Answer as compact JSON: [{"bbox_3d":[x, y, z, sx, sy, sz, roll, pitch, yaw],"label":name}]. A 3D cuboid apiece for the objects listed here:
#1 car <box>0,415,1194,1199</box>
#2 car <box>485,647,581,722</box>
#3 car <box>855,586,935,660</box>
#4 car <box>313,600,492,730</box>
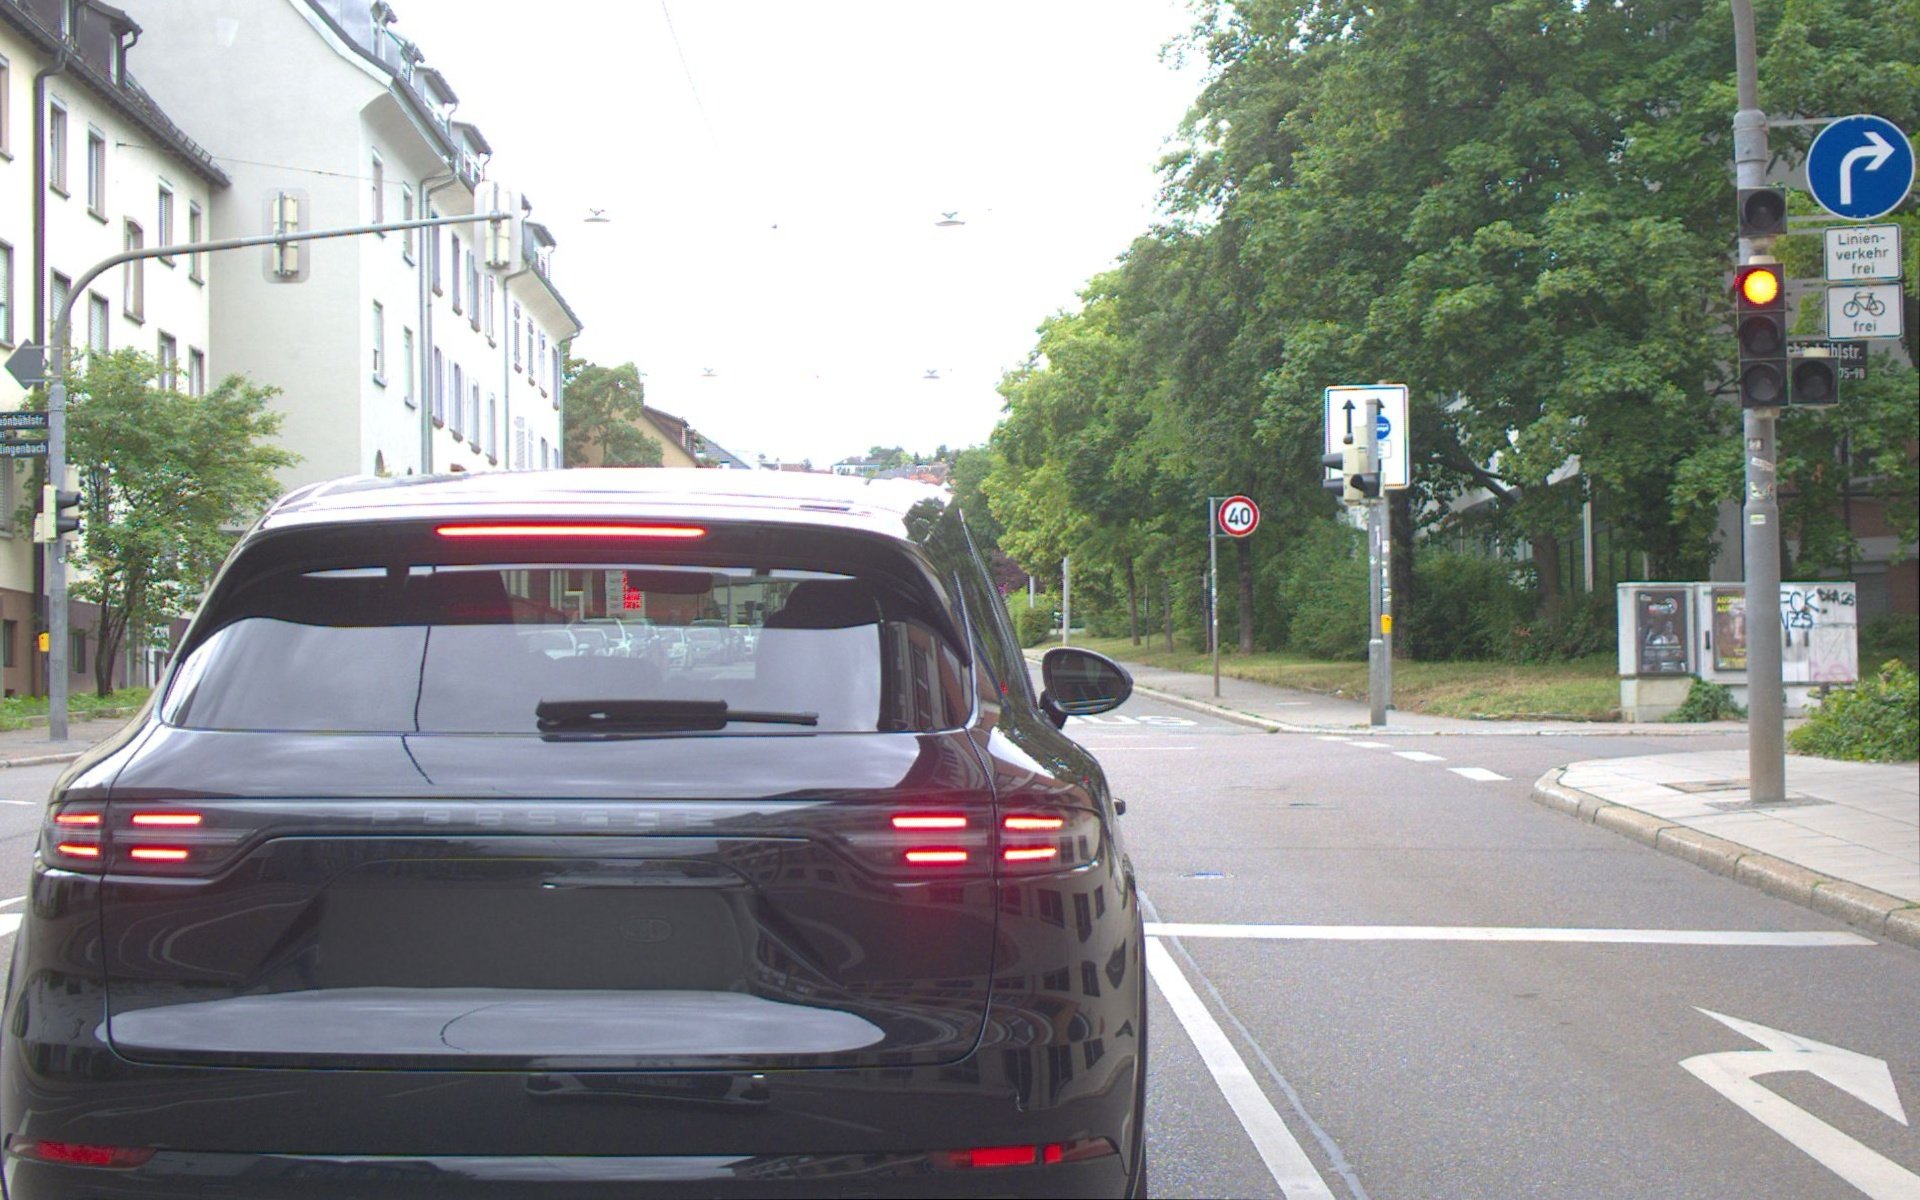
[{"bbox_3d":[-0.677,0.558,7.184,1.993,1.691,4.000,1,1,-1],"label":"car"},{"bbox_3d":[-8.563,1.677,69.132,1.669,1.357,4.001,0,1,-3],"label":"car"},{"bbox_3d":[-1.474,0.491,76.556,1.688,1.547,3.889,1,1,-2],"label":"car"},{"bbox_3d":[-7.339,0.832,45.580,1.664,1.514,3.740,-4,0,0],"label":"car"}]
